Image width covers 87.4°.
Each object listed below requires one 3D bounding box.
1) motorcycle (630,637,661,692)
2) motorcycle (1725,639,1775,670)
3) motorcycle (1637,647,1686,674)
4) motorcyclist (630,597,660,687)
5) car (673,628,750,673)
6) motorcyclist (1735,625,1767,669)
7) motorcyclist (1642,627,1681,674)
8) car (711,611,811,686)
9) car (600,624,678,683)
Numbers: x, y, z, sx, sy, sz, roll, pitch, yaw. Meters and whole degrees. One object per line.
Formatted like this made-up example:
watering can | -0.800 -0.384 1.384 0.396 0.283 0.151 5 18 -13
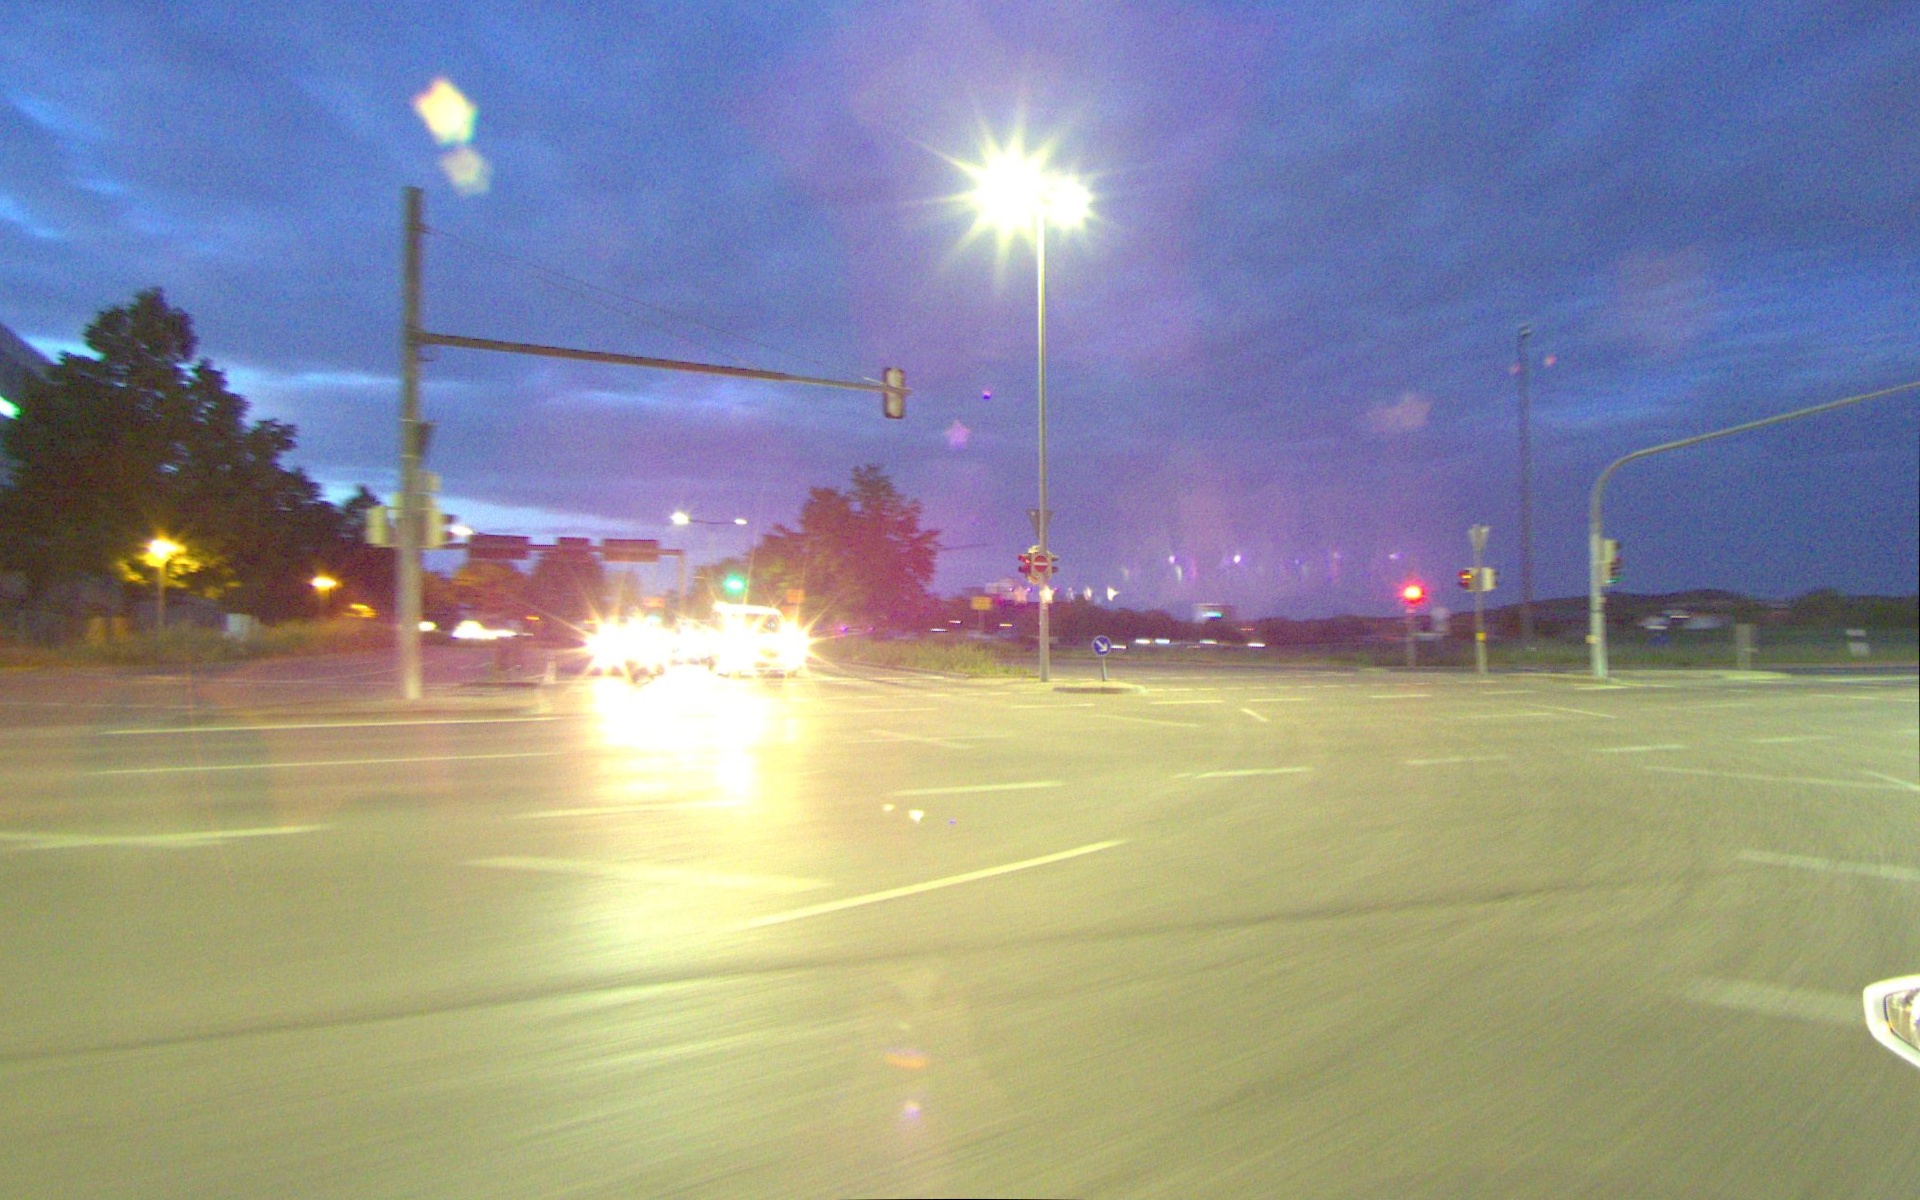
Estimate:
motorcycle | -7.233 1.455 23.125 0.662 1.179 1.802 1 -1 -17
motorcycle | 33.343 2.304 42.411 1.796 1.196 0.846 3 -7 -23
motorcycle | 29.001 2.497 41.543 1.548 1.046 0.723 2 -7 -8
motorcyclist | -7.307 0.962 23.332 0.626 2.040 0.765 1 -1 -17
car | -8.660 1.709 34.708 1.850 1.416 4.812 1 -2 -23
motorcyclist | 33.437 2.007 42.462 0.779 1.781 0.681 3 -6 -23
motorcyclist | 29.035 2.106 41.596 0.854 1.831 0.917 2 -7 -7
car | -5.451 1.254 27.056 1.822 1.838 4.751 1 -2 -22
car | -8.742 1.398 27.163 1.749 1.466 3.762 1 -2 -22
